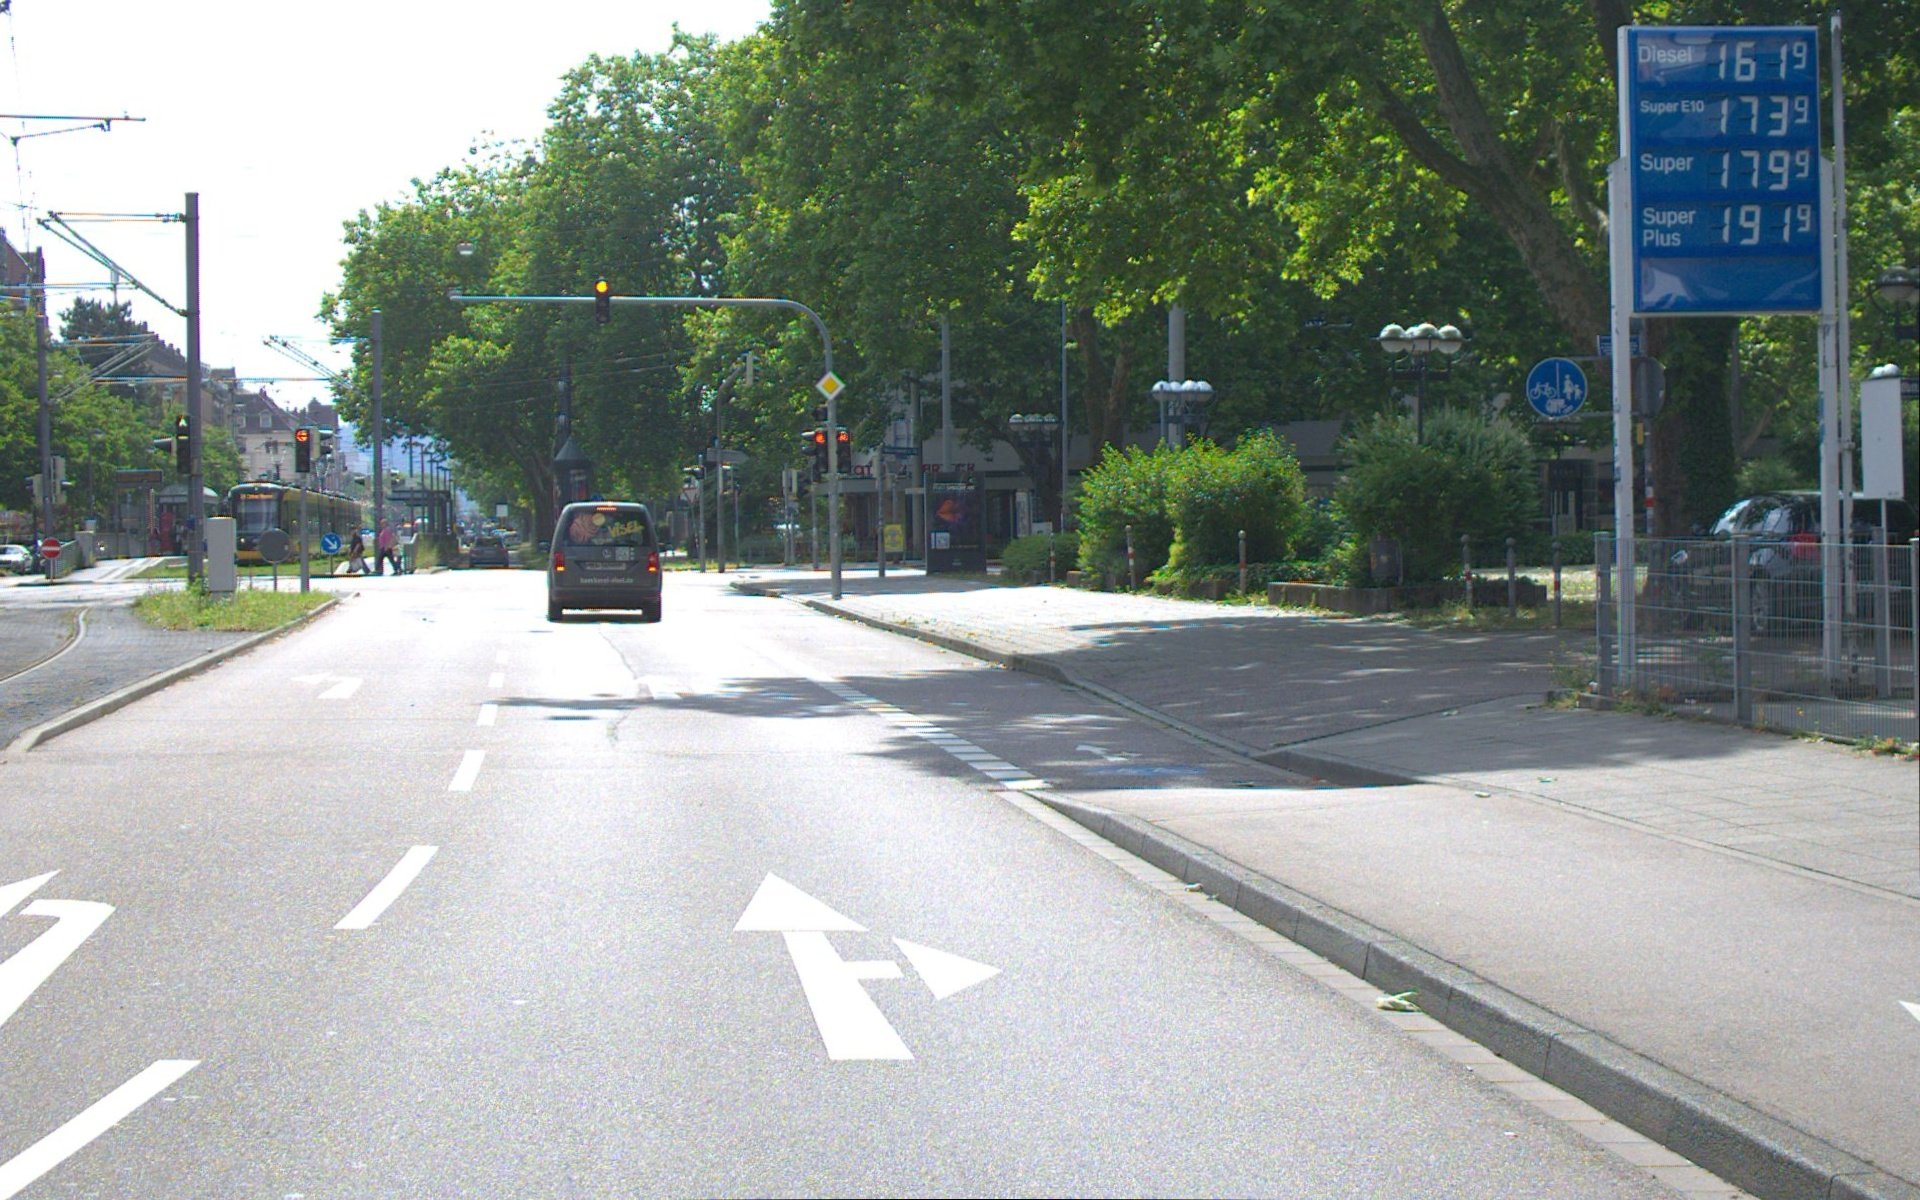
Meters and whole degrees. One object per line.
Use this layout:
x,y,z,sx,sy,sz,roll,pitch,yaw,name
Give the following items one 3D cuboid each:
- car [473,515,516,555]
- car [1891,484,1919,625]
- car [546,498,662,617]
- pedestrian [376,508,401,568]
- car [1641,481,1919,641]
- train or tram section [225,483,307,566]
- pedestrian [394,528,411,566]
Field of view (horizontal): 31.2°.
-21.383,-2.990,157.994,1.862,1.746,4.001,-2,2,-7,car
10.997,-0.463,34.366,1.648,1.465,4.044,-2,2,-11,car
-5.629,-0.687,54.112,1.750,1.802,3.476,0,1,-7,car
-17.093,-1.865,102.873,0.659,1.778,0.661,-1,2,-7,pedestrian
8.267,-0.429,34.247,1.648,1.465,4.044,-1,2,-8,car
-29.134,-3.209,144.737,2.240,3.320,12.975,-1,2,-7,train or tram section
-16.807,-1.601,103.597,0.463,1.140,0.435,-1,2,-7,pedestrian
